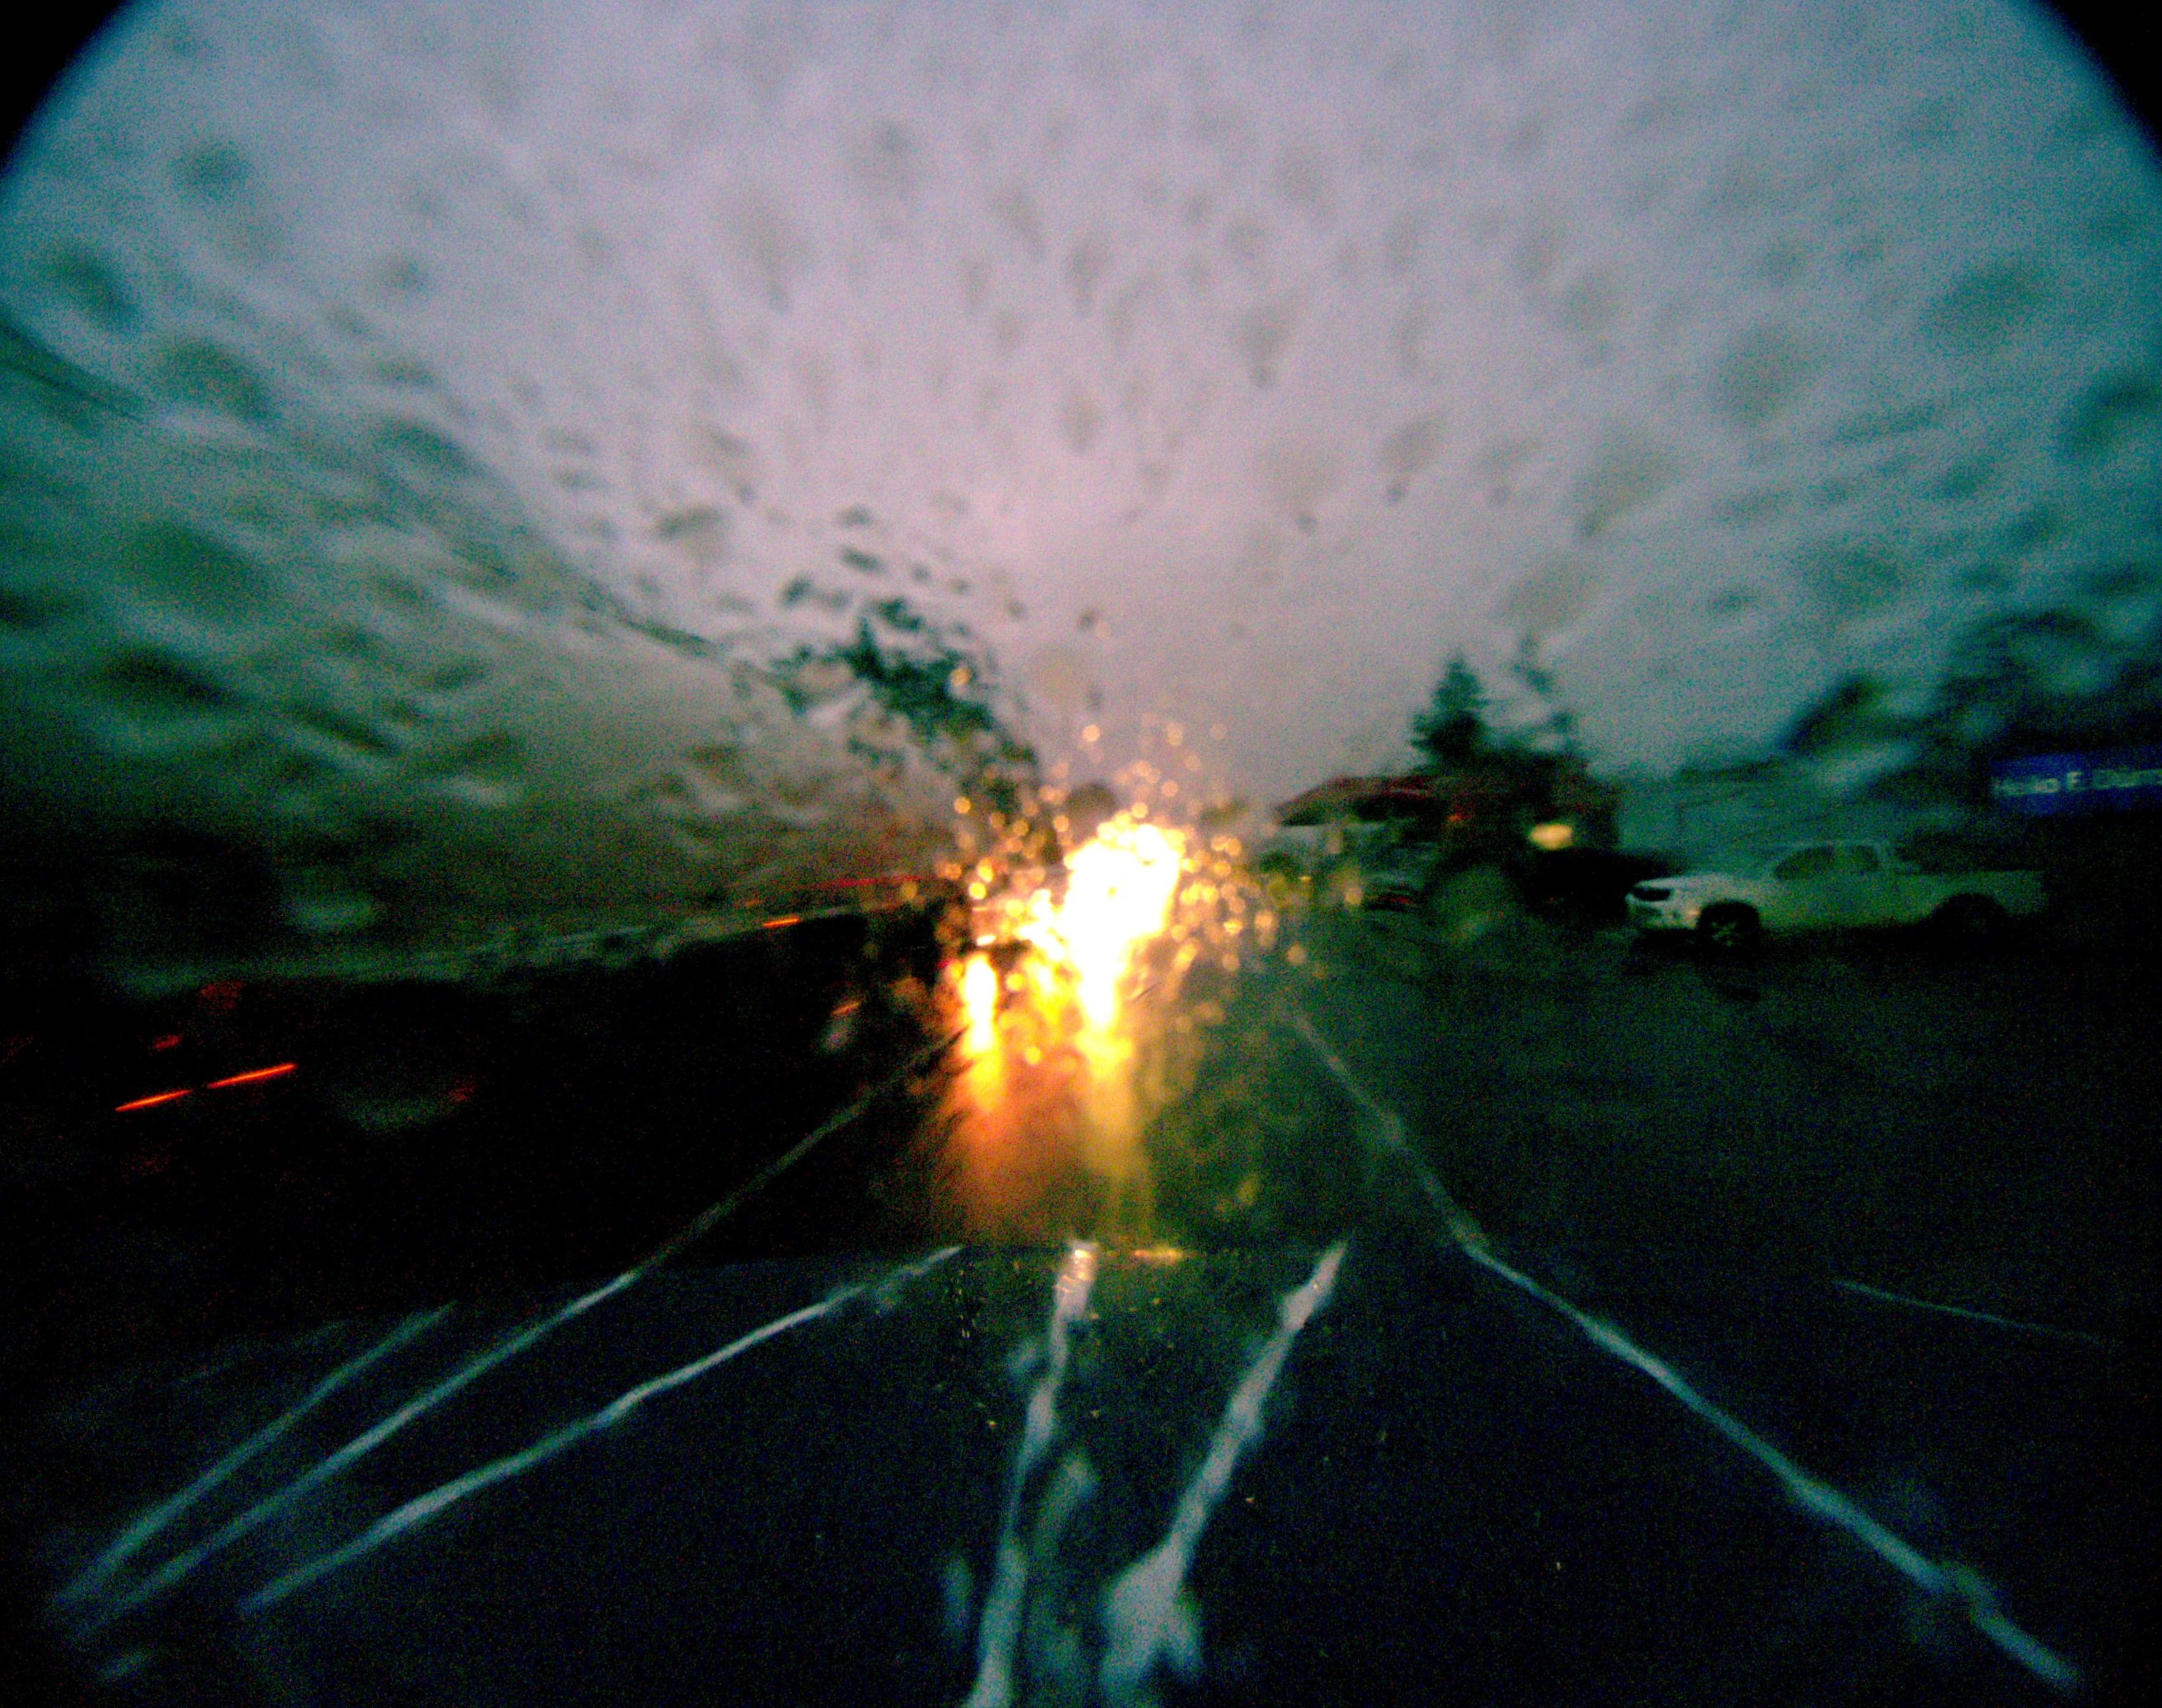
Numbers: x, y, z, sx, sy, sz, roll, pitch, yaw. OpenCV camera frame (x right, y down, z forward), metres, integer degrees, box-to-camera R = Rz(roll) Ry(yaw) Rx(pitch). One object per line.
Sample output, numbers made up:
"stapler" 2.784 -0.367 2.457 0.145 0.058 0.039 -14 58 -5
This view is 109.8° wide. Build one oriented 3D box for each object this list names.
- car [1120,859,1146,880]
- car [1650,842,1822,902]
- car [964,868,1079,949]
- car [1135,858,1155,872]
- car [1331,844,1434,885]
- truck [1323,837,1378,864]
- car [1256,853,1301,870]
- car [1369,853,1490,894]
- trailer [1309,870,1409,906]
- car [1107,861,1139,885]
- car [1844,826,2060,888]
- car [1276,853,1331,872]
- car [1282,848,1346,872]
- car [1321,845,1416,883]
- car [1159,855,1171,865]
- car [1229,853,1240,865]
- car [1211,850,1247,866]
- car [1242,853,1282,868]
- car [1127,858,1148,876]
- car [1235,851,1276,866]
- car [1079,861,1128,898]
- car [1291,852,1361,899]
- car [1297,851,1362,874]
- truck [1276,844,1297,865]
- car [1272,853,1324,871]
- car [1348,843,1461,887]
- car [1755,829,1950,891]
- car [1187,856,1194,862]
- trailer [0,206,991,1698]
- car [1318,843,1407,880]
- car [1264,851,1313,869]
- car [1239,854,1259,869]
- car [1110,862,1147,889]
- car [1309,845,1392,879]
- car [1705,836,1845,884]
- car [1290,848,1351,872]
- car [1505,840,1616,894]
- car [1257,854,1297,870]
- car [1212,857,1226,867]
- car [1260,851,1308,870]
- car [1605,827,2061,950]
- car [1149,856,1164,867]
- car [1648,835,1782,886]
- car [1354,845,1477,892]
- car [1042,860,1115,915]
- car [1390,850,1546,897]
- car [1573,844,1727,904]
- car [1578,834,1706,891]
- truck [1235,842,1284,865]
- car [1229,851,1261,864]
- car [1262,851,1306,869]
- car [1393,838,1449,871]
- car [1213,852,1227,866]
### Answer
"car" 4.187 1.225 60.833 1.711 1.566 4.467 -2 0 8
"car" 19.529 0.489 22.928 1.997 1.615 4.002 -1 0 7
"car" -1.178 1.107 16.952 1.665 1.430 4.384 -3 0 7
"car" 7.071 1.208 84.468 2.015 1.483 4.001 -2 -1 3
"car" 14.851 0.519 37.673 4.285 1.652 2.138 -4 0 7
"truck" 47.968 -0.570 135.379 8.710 4.236 3.006 -3 0 -4
"car" 18.785 0.704 72.320 3.866 1.443 1.841 -3 0 7
"car" 13.450 0.741 29.492 3.901 1.420 1.720 -3 0 8
"trailer" 9.536 1.122 26.627 1.997 1.033 6.107 0 0 7
"car" 2.800 1.197 49.895 1.644 1.358 4.771 -2 0 8
"car" 25.290 0.081 22.329 1.997 1.615 4.002 -1 0 7
"car" 17.365 0.649 59.478 3.866 1.338 1.841 -2 0 7
"car" 17.323 0.426 56.646 4.289 1.647 1.982 -2 0 7
"car" 15.199 0.516 40.407 4.285 1.652 2.001 -4 0 7
"car" 14.968 1.056 135.810 1.889 1.618 4.002 -2 -1 5
"car" 20.705 0.660 102.420 1.173 1.634 2.874 -1 0 15
"car" 25.941 0.706 133.433 6.168 2.616 2.177 0 0 7
"car" 20.951 0.752 88.040 4.344 1.489 1.827 -2 0 8
"car" 5.148 1.116 68.572 1.568 1.520 4.009 -2 0 8
"car" 21.357 0.516 93.194 4.544 1.666 2.011 -2 0 3
"car" 1.076 1.083 33.947 1.705 1.463 4.274 -3 0 7
"car" 10.195 0.861 31.954 1.974 1.820 4.515 0 0 7
"car" 16.794 0.570 51.501 3.866 1.433 1.841 -2 0 7
"truck" 34.162 0.078 126.479 2.035 3.434 5.854 1 0 3
"car" 17.801 0.648 62.409 3.866 1.338 1.841 -2 0 7
"car" 14.782 0.505 34.935 4.285 1.652 2.001 -4 0 7
"car" 22.653 0.163 22.578 1.997 1.615 4.002 -1 0 7
"car" 26.867 1.184 186.506 1.606 1.525 4.002 0 0 6
"trailer" -3.193 0.211 4.600 2.493 3.221 10.875 -2 0 8
"car" 15.824 0.408 42.960 4.285 1.753 2.001 -4 0 7
"car" 18.432 0.528 67.539 3.866 1.401 1.945 -3 0 7
"car" 16.825 0.707 76.185 1.685 1.412 3.743 -2 0 9
"car" 2.653 1.129 41.633 1.656 1.328 4.274 -2 0 7
"car" 16.041 0.478 45.448 4.285 1.652 2.001 -4 0 7
"car" 24.555 0.196 27.073 1.739 1.521 3.908 -1 0 7
"car" 16.958 0.451 53.954 3.866 1.550 1.841 -2 0 7
"car" 17.875 0.450 28.567 1.997 1.858 4.002 -1 0 7
"car" 20.790 0.833 80.701 3.780 1.451 1.777 -3 0 5
"car" 19.374 1.085 106.503 1.573 1.314 4.257 0 1 5
"car" 18.639 0.633 69.918 4.039 1.545 1.825 -3 -1 7
"car" 12.120 0.557 12.658 5.198 1.780 2.001 -2 0 9
"car" 11.229 1.143 113.051 2.015 1.483 4.001 -2 -1 3
"car" 22.621 0.212 27.316 1.801 1.615 4.002 -3 0 8
"car" 14.101 0.615 32.250 4.285 1.617 2.001 -4 0 7
"car" 0.015 1.064 25.547 1.840 1.559 4.506 -3 0 7
"car" 13.644 0.680 27.046 4.566 1.574 1.920 -1 0 6
"car" 17.048 0.544 23.046 1.997 1.615 4.002 -1 0 7
"car" 20.151 0.280 27.530 1.997 1.893 4.002 -1 0 7
"truck" 26.837 -0.050 114.578 6.873 3.123 2.335 -2 0 6
"car" 27.665 0.628 128.390 5.156 2.137 2.060 0 0 7
"car" 20.239 0.601 76.048 4.054 1.640 1.943 -2 0 9
"car" 20.026 0.031 44.898 1.890 1.858 4.002 -1 0 7
"car" 20.551 0.762 112.219 1.838 2.001 4.487 -2 0 9
